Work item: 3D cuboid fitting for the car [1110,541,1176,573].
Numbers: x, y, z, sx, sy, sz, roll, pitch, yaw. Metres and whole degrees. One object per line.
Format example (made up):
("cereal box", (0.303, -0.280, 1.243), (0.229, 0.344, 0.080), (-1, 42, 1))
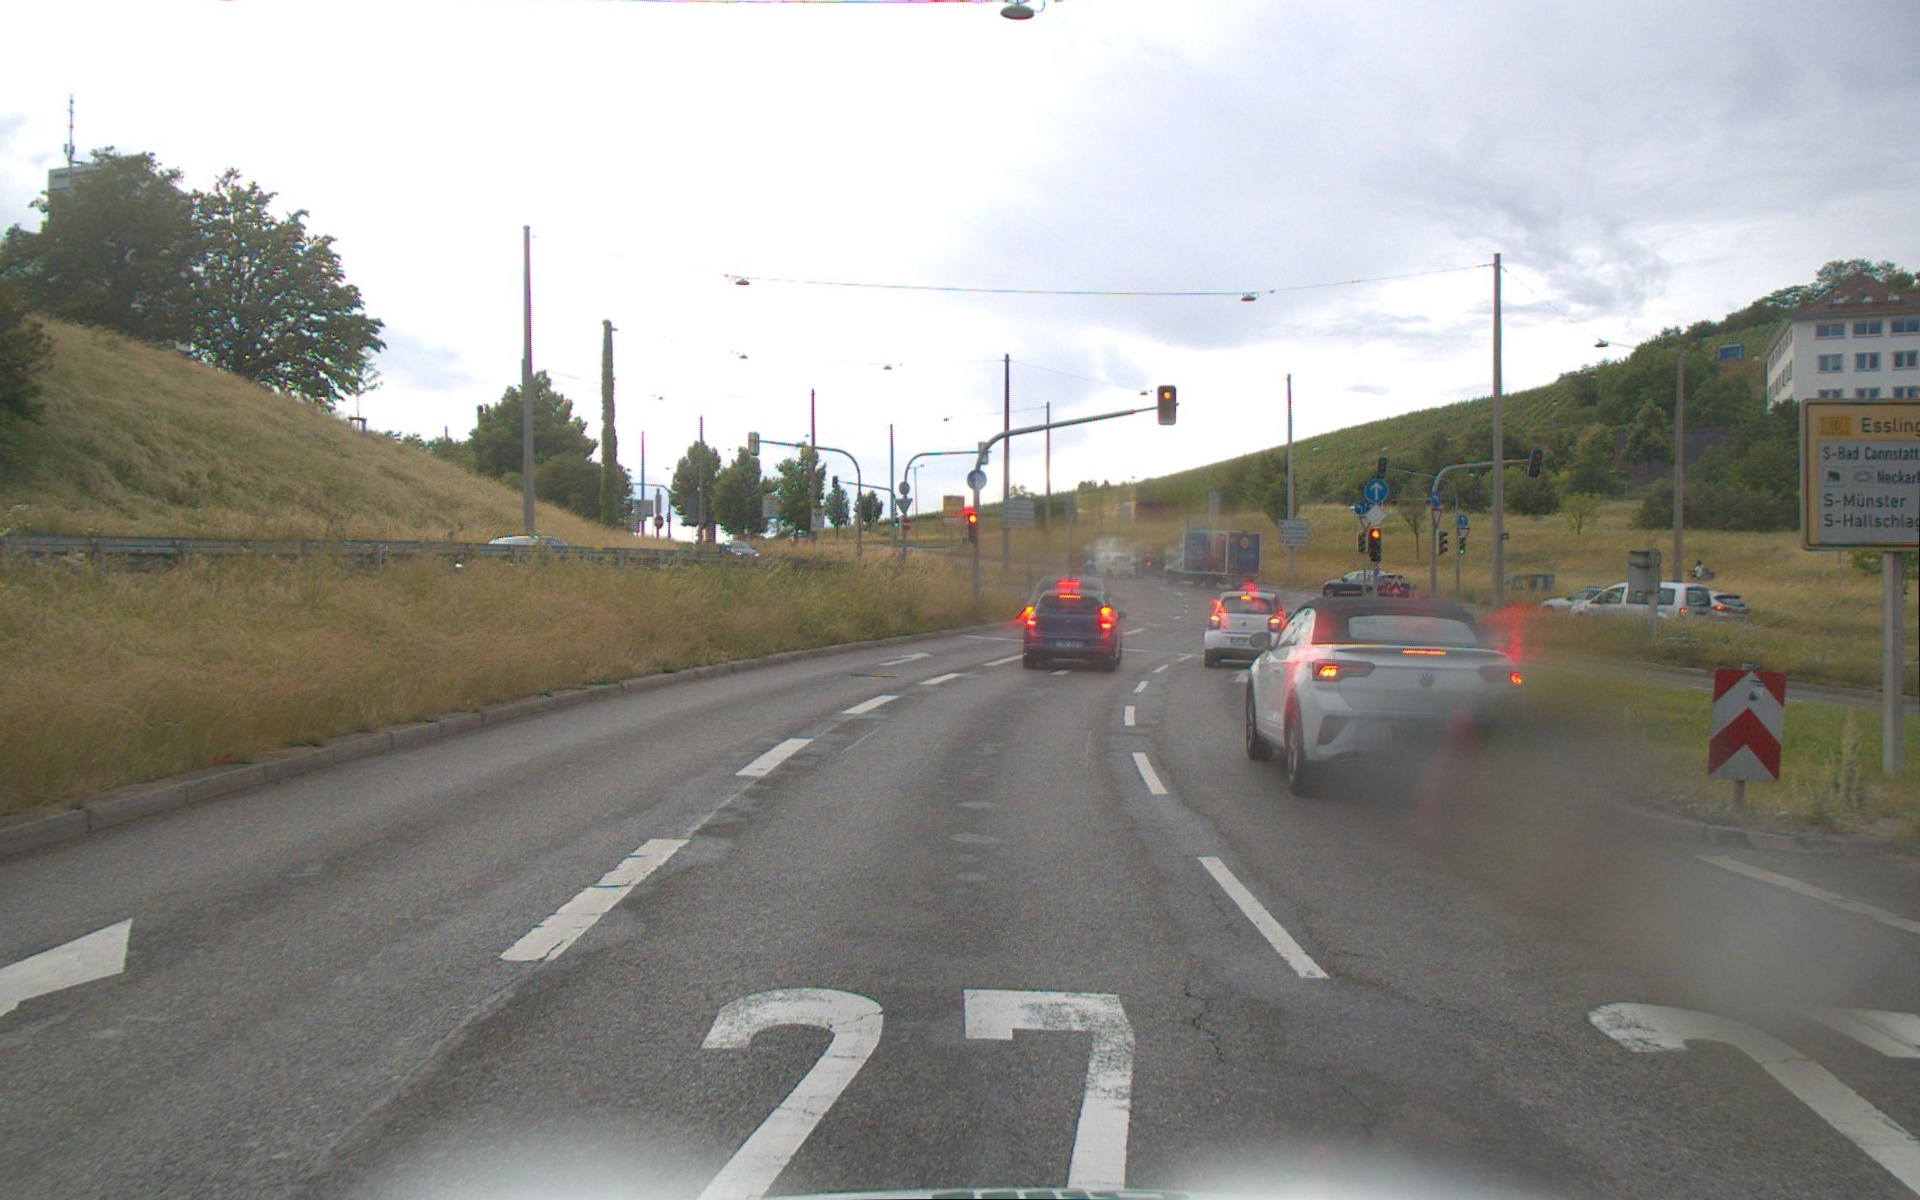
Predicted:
("car", (11.190, -2.660, 101.525), (1.969, 1.741, 4.528), (-2, 4, -25))

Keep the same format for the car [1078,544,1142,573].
("car", (8.897, -2.478, 98.624), (1.966, 1.526, 4.534), (-2, 4, -22))

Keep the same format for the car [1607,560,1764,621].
("car", (24.411, -0.367, 55.822), (1.973, 1.741, 4.619), (-3, 4, -30))

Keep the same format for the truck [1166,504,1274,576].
("truck", (13.766, -3.277, 88.141), (2.811, 3.587, 6.191), (-2, 4, -24))

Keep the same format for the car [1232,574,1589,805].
("car", (3.616, 0.619, 14.100), (1.955, 1.606, 4.126), (2, 1, 1))

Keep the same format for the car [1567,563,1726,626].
("car", (22.315, -0.238, 53.918), (1.973, 1.741, 4.518), (-3, 4, -30))

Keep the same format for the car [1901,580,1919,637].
("car", (31.101, 0.375, 49.426), (1.971, 1.722, 4.852), (0, 3, -28))

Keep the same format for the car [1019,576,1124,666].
("car", (2.110, 0.375, 31.909), (1.886, 1.627, 4.063), (0, 0, 3))

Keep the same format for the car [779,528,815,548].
("car", (-15.290, -5.775, 154.936), (1.969, 1.741, 4.527), (-2, 2, -25))

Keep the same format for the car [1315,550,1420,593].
("car", (18.711, -1.354, 76.119), (1.978, 1.741, 4.506), (-3, 5, -36))

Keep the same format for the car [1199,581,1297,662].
("car", (6.131, 0.415, 34.938), (1.737, 1.545, 3.728), (2, 1, 14))

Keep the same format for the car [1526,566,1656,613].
("car", (24.100, -0.433, 63.361), (1.970, 1.633, 4.523), (0, 2, -27))
